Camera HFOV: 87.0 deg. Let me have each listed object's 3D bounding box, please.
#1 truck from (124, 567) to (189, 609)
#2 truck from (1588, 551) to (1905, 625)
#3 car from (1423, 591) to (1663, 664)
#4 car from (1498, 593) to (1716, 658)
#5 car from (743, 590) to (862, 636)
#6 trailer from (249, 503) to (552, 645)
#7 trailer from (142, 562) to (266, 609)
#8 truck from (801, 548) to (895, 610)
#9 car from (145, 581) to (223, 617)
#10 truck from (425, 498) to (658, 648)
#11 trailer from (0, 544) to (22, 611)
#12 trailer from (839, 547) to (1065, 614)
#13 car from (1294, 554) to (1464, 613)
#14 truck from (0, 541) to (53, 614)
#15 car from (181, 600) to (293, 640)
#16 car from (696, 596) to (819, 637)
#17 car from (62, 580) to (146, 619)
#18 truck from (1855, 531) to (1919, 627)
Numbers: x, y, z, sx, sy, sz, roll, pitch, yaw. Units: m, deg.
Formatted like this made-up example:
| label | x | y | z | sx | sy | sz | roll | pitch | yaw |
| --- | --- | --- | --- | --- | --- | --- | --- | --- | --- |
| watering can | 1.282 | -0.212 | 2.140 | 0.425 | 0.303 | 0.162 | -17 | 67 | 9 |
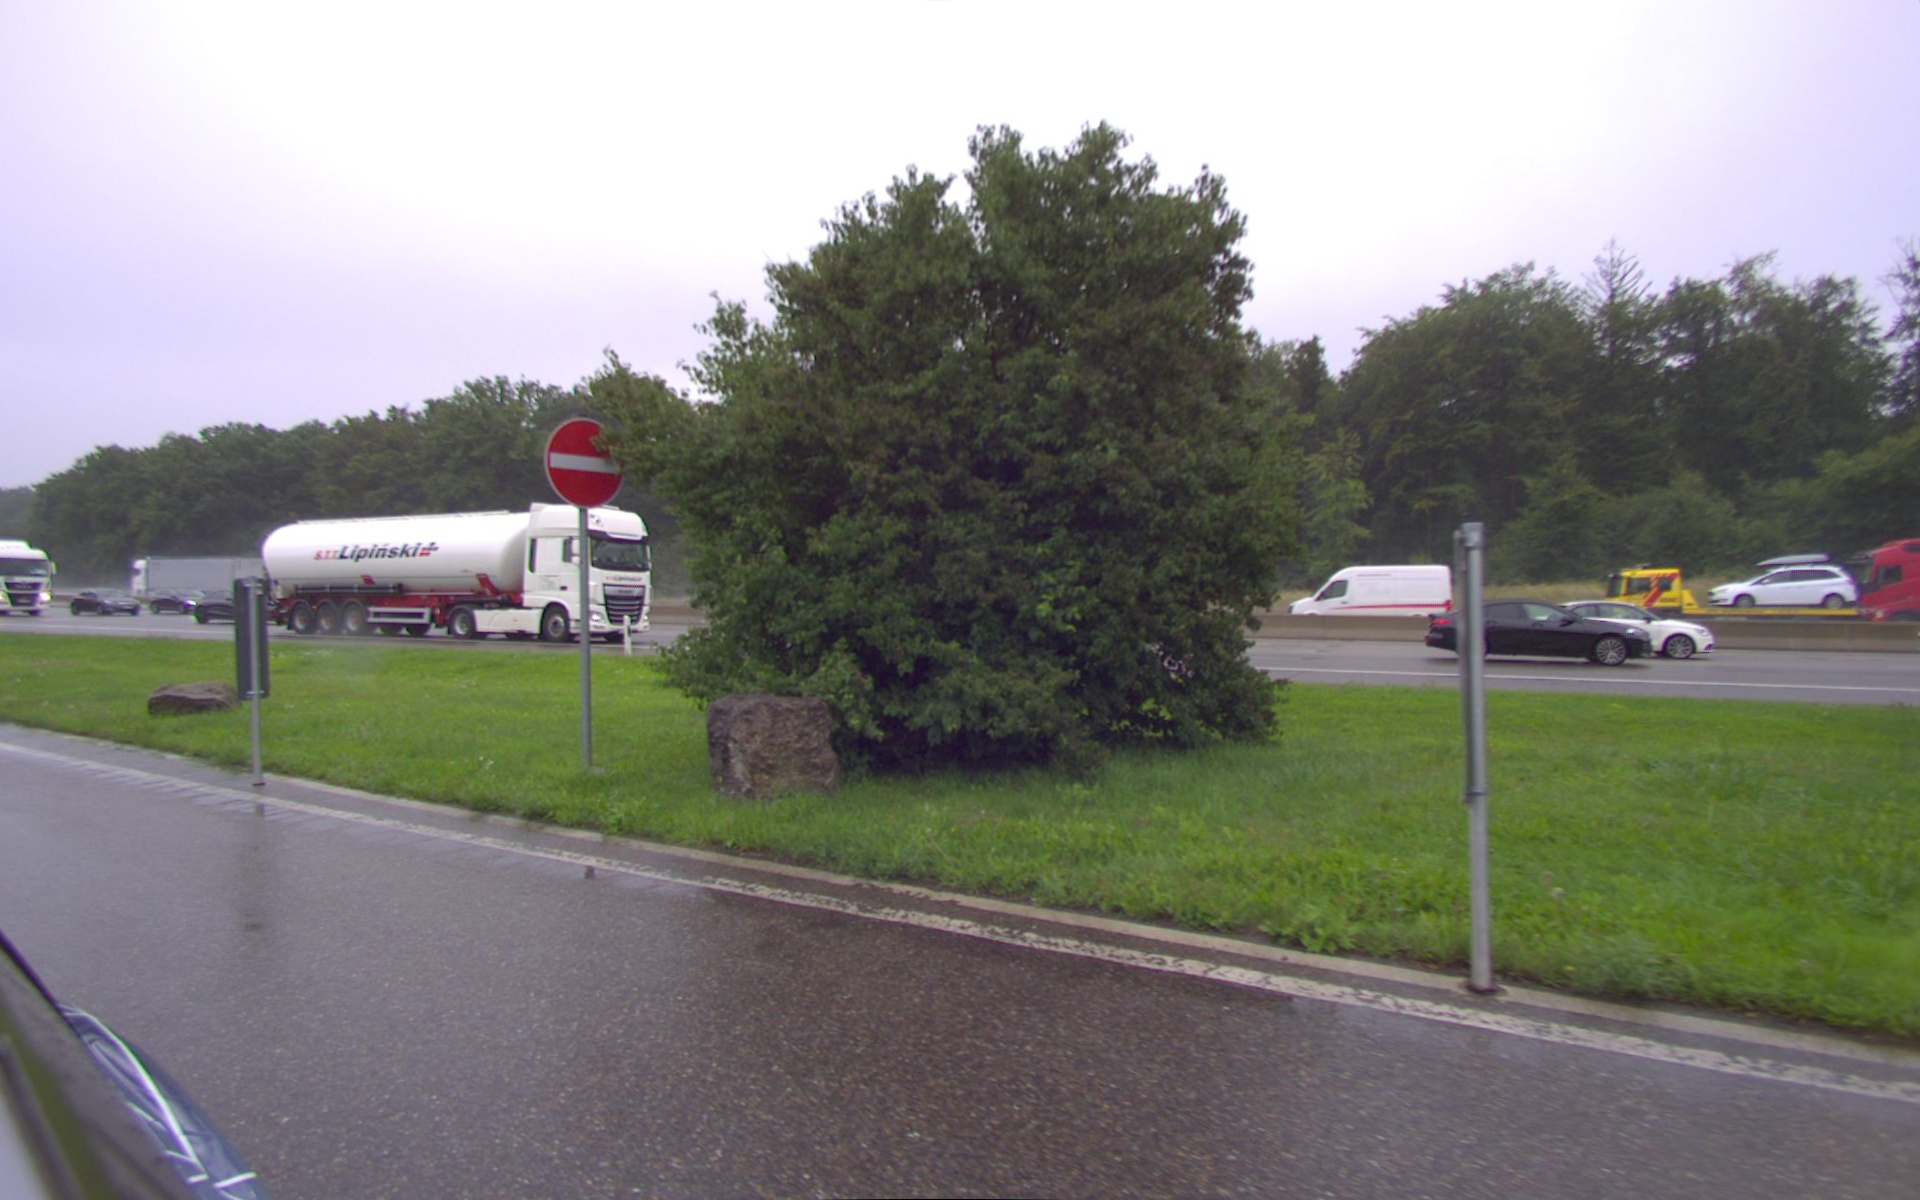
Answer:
| label | x | y | z | sx | sy | sz | roll | pitch | yaw |
| --- | --- | --- | --- | --- | --- | --- | --- | --- | --- |
| truck | -73.864 | -1.087 | 93.061 | 4.738 | 3.559 | 2.699 | -1 | 4 | 27 |
| truck | 29.749 | -0.357 | 38.879 | 9.258 | 2.479 | 2.091 | -1 | -3 | 24 |
| car | 12.994 | 0.568 | 22.908 | 4.473 | 1.492 | 1.872 | 1 | 1 | 23 |
| car | 16.390 | 0.602 | 25.962 | 4.479 | 1.492 | 1.869 | 1 | 1 | 26 |
| car | -6.195 | 0.488 | 39.796 | 4.380 | 1.681 | 1.808 | 1 | 0 | 26 |
| trailer | -18.250 | -0.764 | 32.702 | 10.980 | 4.056 | 2.747 | 0 | 0 | 26 |
| trailer | -67.120 | -1.268 | 89.701 | 13.988 | 3.564 | 2.709 | -2 | 4 | 27 |
| truck | -6.646 | -1.280 | 60.022 | 5.137 | 3.535 | 2.180 | 0 | 4 | 24 |
| car | -44.591 | -0.075 | 58.170 | 3.978 | 2.029 | 1.983 | 0 | 1 | 26 |
| truck | -12.379 | -0.766 | 29.885 | 6.472 | 4.038 | 2.736 | 0 | 1 | 26 |
| trailer | -58.030 | -1.226 | 56.803 | 15.048 | 3.530 | 2.669 | 1 | 4 | 27 |
| trailer | -0.631 | -1.144 | 57.289 | 13.054 | 3.522 | 2.180 | 0 | 4 | 24 |
| car | 15.771 | -0.644 | 38.252 | 5.791 | 2.114 | 1.983 | 1 | 1 | 25 |
| truck | -50.657 | -1.209 | 53.062 | 5.298 | 3.683 | 2.675 | 1 | 4 | 27 |
| car | -31.013 | 0.849 | 43.402 | 4.477 | 1.589 | 1.983 | -1 | 1 | 25 |
| car | -7.271 | 0.571 | 36.319 | 4.101 | 1.425 | 1.808 | 0 | 0 | 26 |
| car | -46.453 | -0.031 | 54.906 | 4.090 | 2.029 | 1.983 | 0 | 1 | 26 |
| truck | 39.125 | -0.918 | 39.511 | 5.762 | 3.645 | 2.431 | -1 | 3 | 22 |
